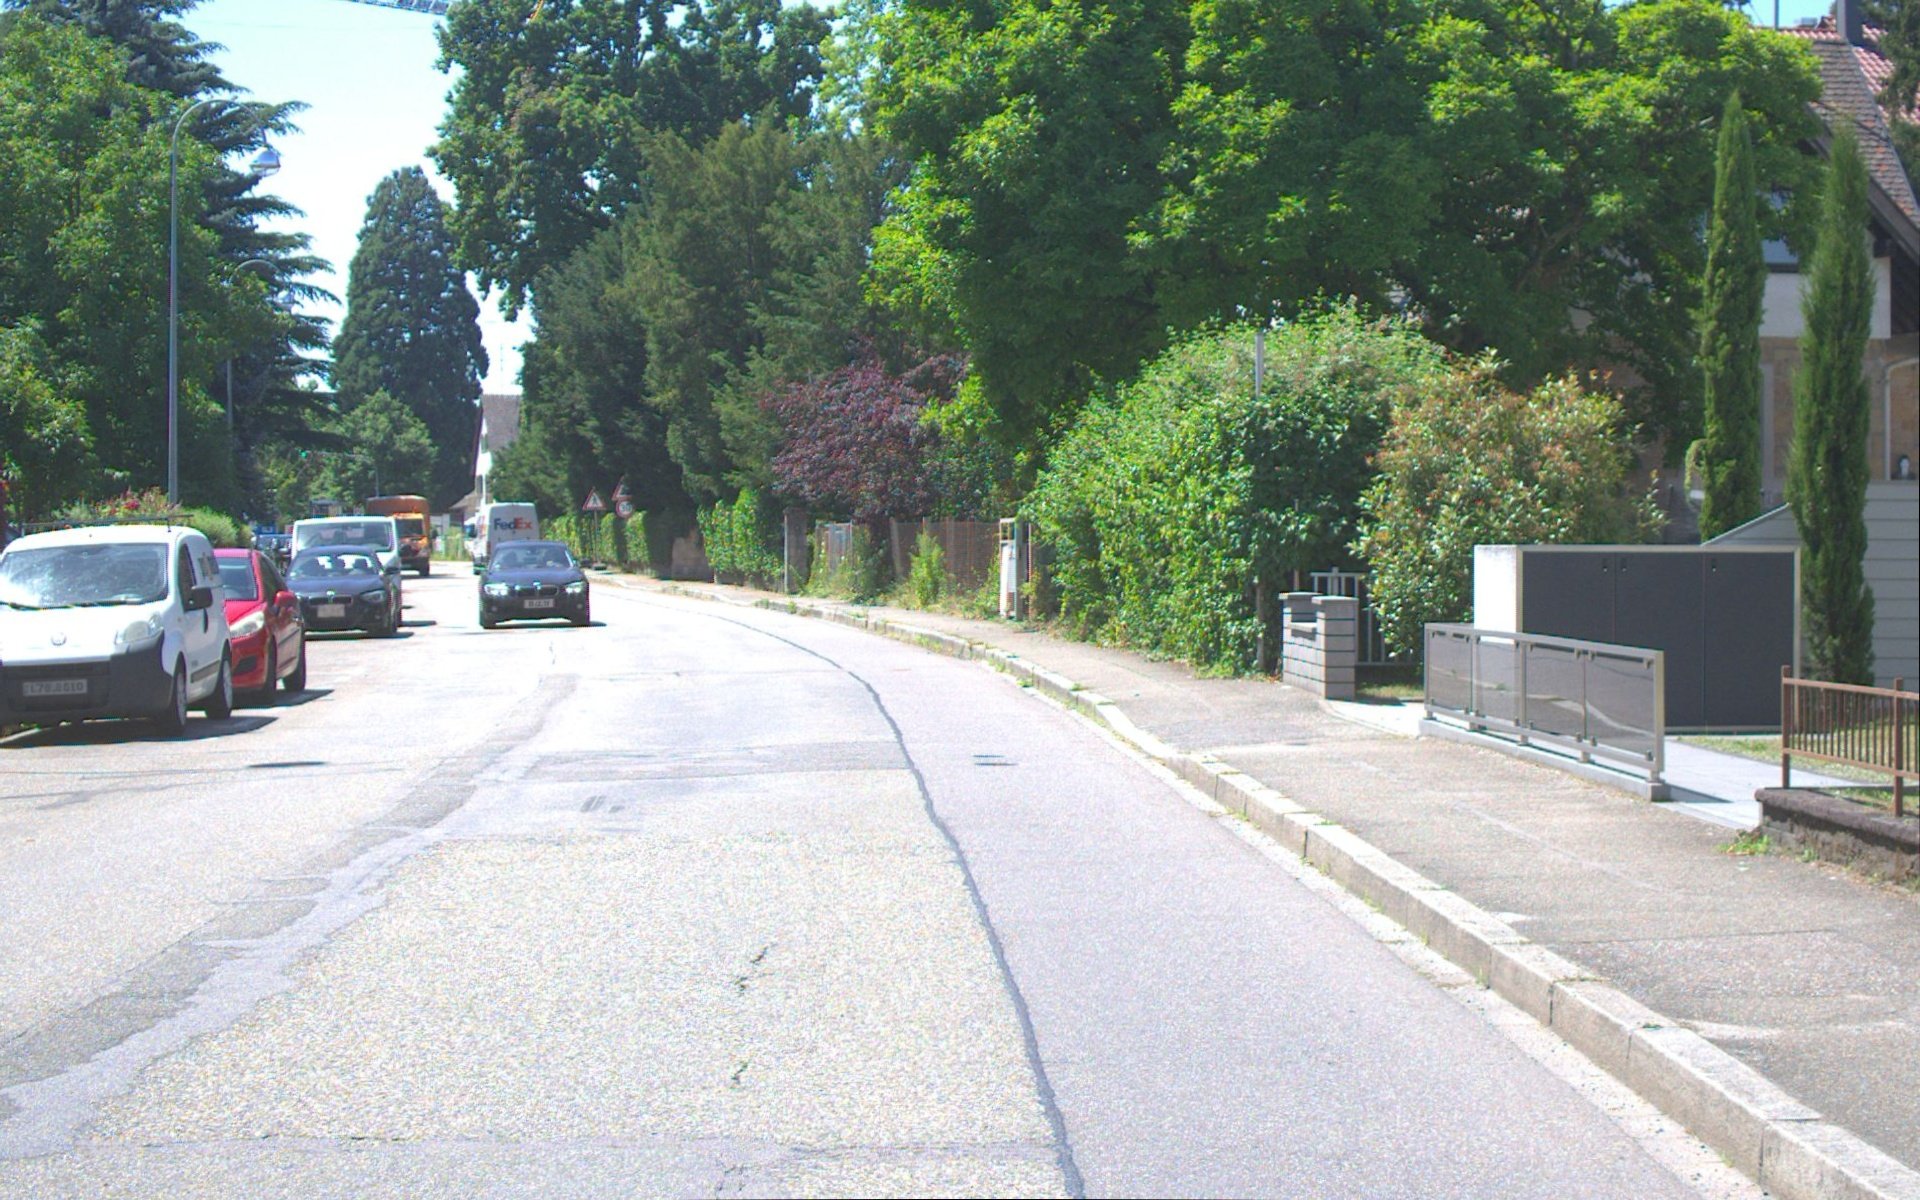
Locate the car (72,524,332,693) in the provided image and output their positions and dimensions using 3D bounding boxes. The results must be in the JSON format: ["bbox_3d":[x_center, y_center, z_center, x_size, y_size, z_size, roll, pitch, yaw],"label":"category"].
[{"bbox_3d":[-7.331,0.030,33.598,1.760,1.472,4.059,-2,2,-3],"label":"car"}]

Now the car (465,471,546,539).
[{"bbox_3d":[-16.145,-3.377,121.930,2.143,2.307,4.854,-2,2,-15],"label":"car"}]

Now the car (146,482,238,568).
[{"bbox_3d":[-16.326,-1.602,73.252,1.647,1.746,4.356,-2,2,-10],"label":"car"}]

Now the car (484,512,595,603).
[{"bbox_3d":[-6.970,-0.712,57.218,1.731,1.412,4.001,-1,1,-6],"label":"car"}]

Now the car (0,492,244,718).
[{"bbox_3d":[-7.109,-0.010,28.491,1.722,1.730,3.888,-1,2,-3],"label":"car"}]

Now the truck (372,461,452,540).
[{"bbox_3d":[-20.080,-3.621,125.758,2.372,2.820,5.660,-1,1,-14],"label":"truck"}]

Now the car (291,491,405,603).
[{"bbox_3d":[-10.838,-0.969,61.142,1.886,1.875,4.982,-1,2,-9],"label":"car"}]

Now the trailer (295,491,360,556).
[{"bbox_3d":[-20.912,-2.528,113.554,1.847,2.033,4.165,-2,2,-13],"label":"trailer"}]

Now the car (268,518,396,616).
[{"bbox_3d":[-9.678,-0.541,53.209,1.698,1.379,4.237,-2,2,-8],"label":"car"}]
